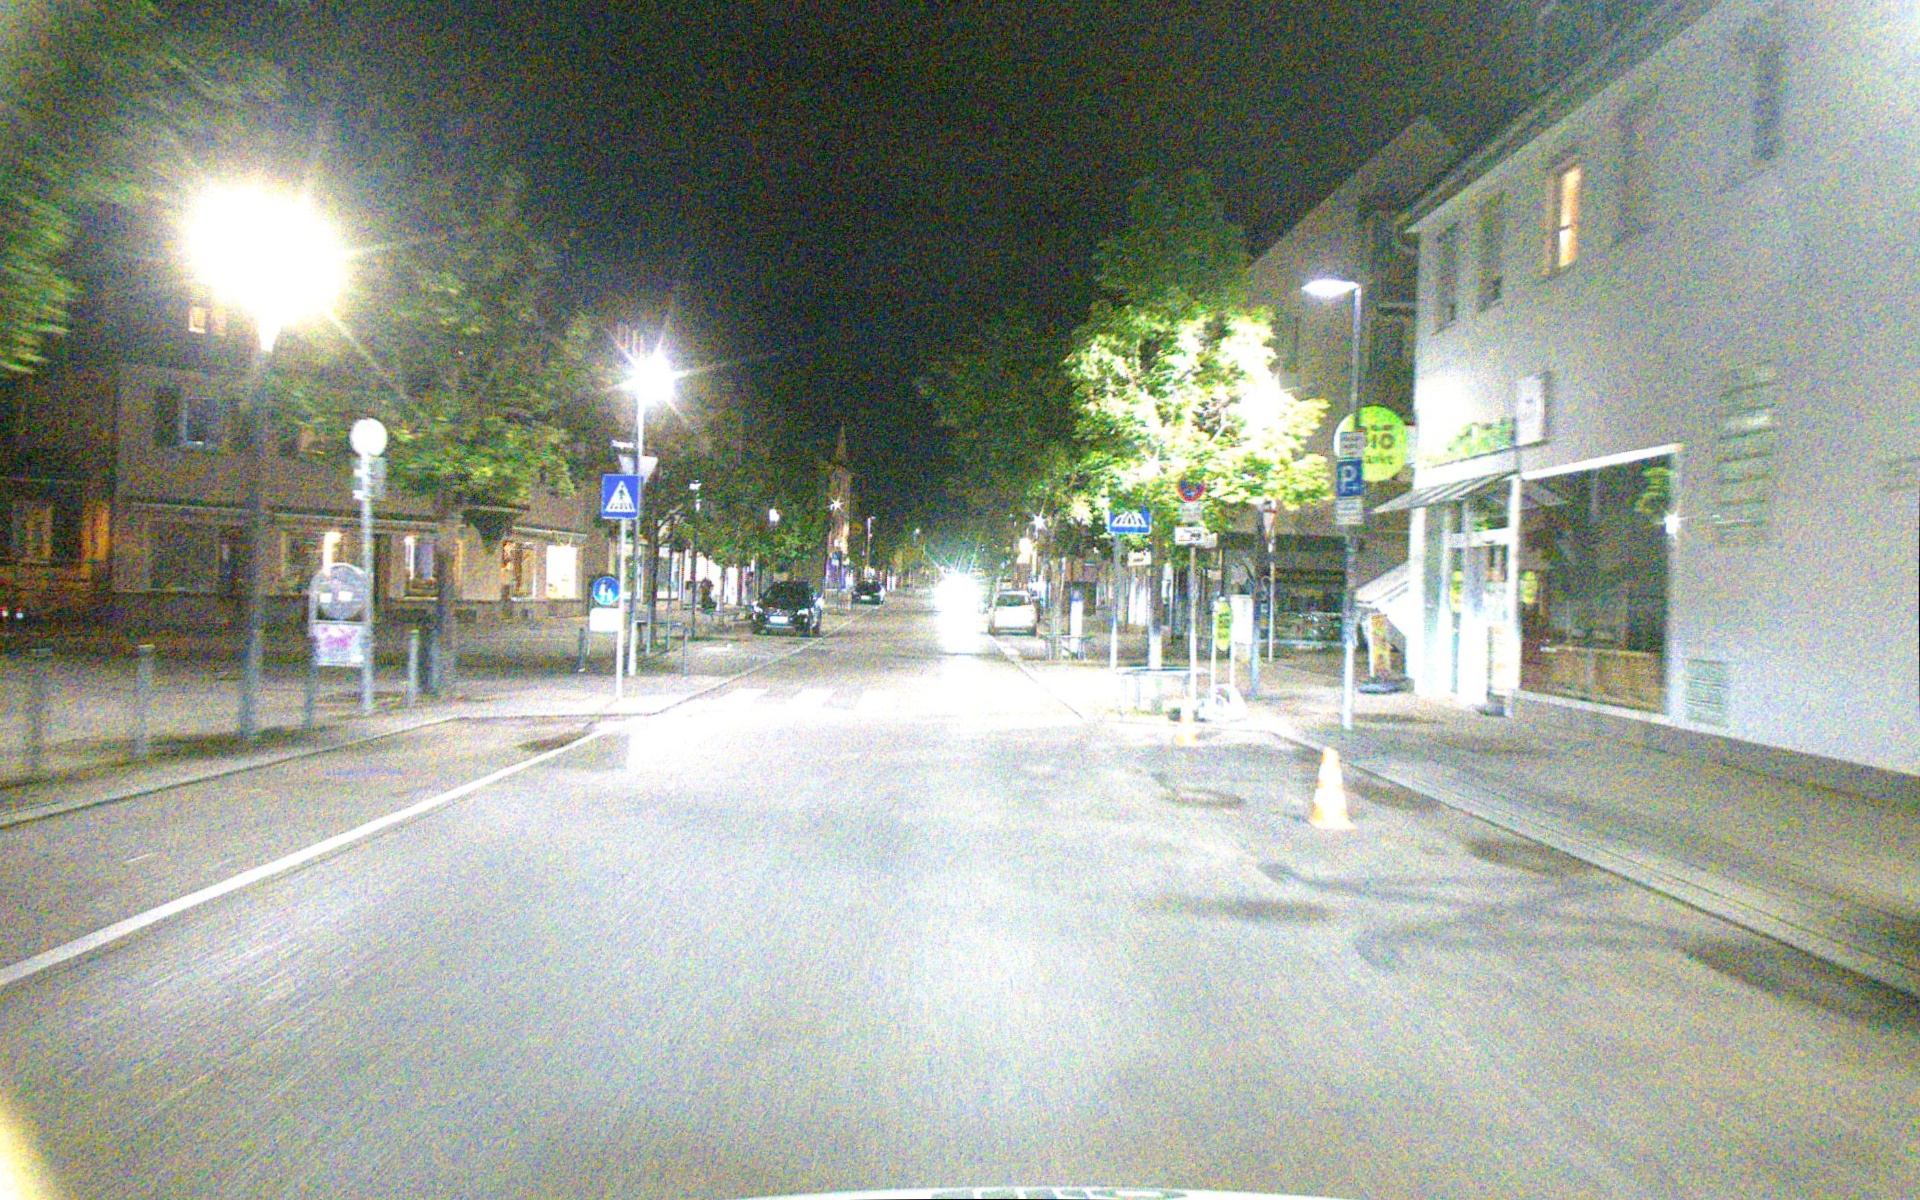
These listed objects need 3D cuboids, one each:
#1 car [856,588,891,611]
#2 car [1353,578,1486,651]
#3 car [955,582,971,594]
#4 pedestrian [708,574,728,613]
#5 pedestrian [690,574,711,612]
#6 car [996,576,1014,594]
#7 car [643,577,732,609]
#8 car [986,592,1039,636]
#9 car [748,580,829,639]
[{"bbox_3d":[-5.602,-0.034,107.380,1.875,1.394,4.458,1,1,1],"label":"car"},{"bbox_3d":[10.555,0.347,38.251,1.768,1.485,4.055,-3,-1,-2],"label":"car"},{"bbox_3d":[0.365,-1.359,181.941,1.687,1.268,4.238,1,1,1],"label":"car"},{"bbox_3d":[-10.931,-0.295,74.599,0.753,1.684,0.782,1,2,1],"label":"pedestrian"},{"bbox_3d":[-11.701,-0.313,74.609,0.753,1.684,0.817,1,2,1],"label":"pedestrian"},{"bbox_3d":[4.378,-1.463,161.079,1.739,1.681,4.365,1,1,1],"label":"car"},{"bbox_3d":[-13.765,-0.362,83.579,4.080,1.463,1.842,-2,0,3],"label":"car"},{"bbox_3d":[1.846,0.472,59.184,1.641,1.485,3.674,1,0,-2],"label":"car"},{"bbox_3d":[-5.485,0.268,53.480,1.976,1.720,5.003,3,0,0],"label":"car"}]
